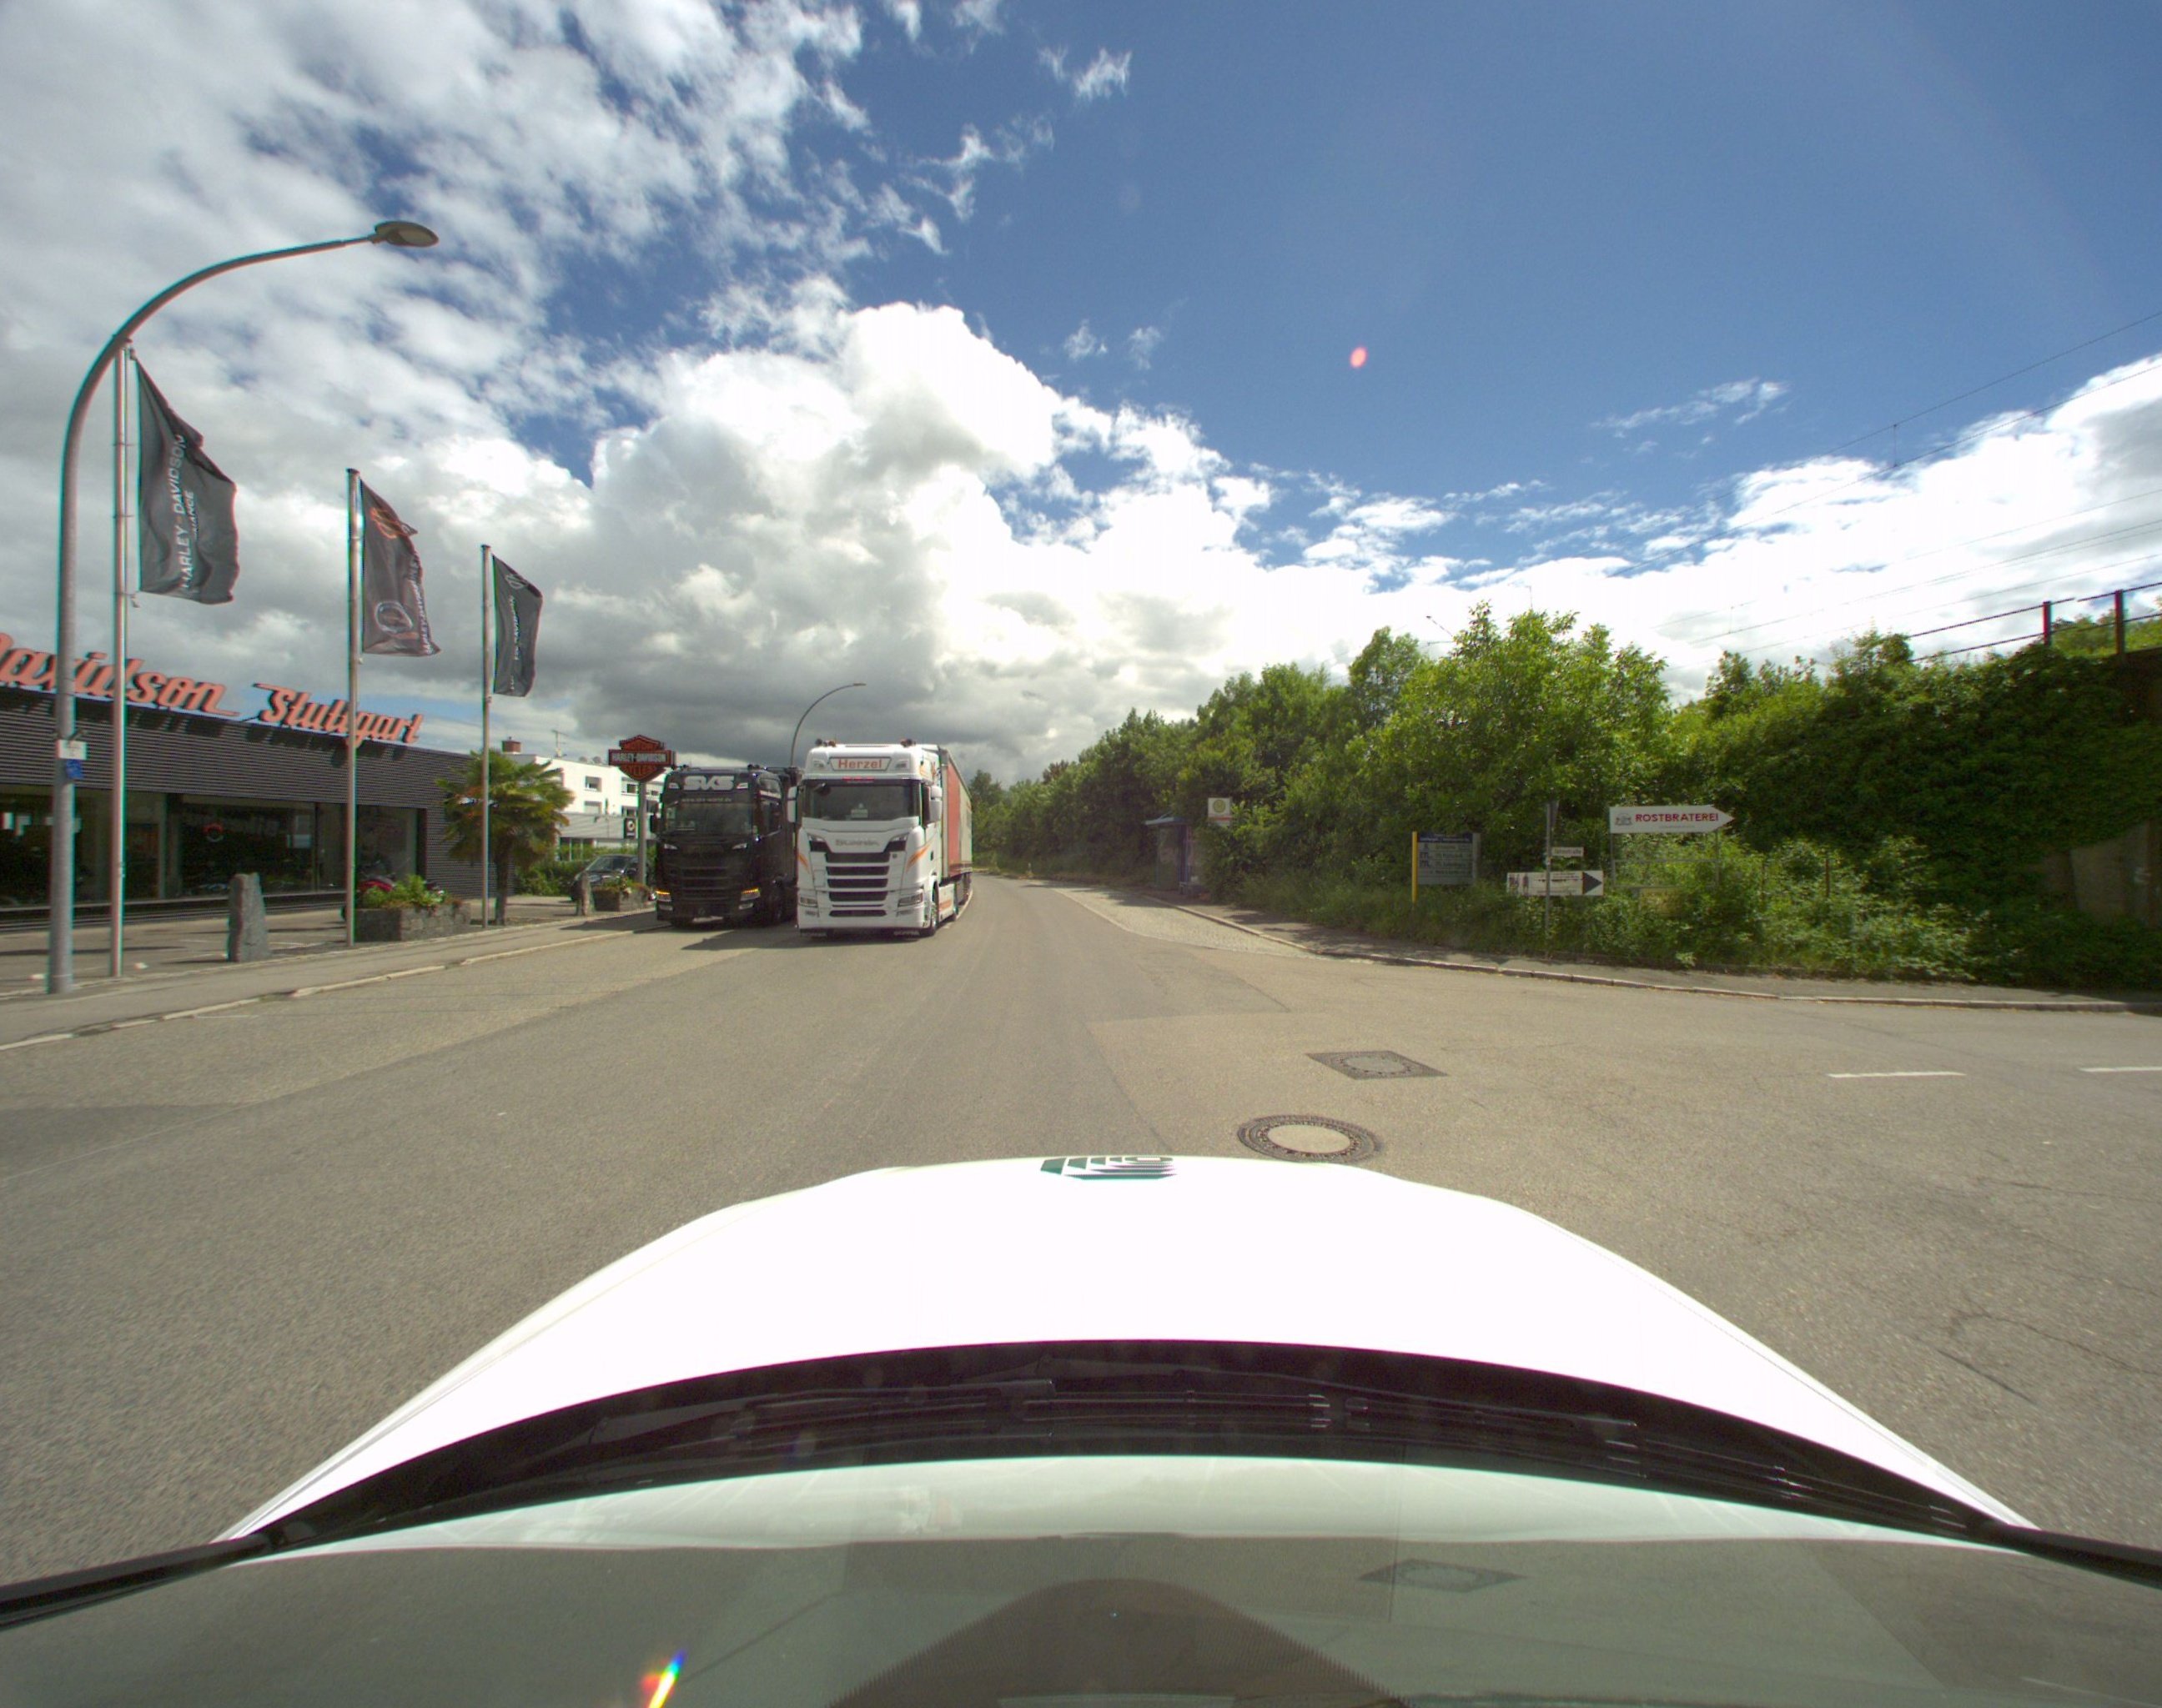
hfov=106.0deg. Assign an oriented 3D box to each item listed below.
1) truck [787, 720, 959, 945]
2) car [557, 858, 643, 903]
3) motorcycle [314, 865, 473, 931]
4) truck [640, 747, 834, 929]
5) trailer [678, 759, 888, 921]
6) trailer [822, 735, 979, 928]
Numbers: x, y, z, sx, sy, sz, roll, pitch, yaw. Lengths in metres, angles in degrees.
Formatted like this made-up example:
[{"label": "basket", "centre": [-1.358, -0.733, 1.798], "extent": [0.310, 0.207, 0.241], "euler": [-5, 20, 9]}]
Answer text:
[{"label": "truck", "centre": [-4.186, -0.363, 17.496], "extent": [2.767, 4.119, 4.977], "euler": [1, -1, -5]}, {"label": "car", "centre": [-15.302, 0.813, 26.022], "extent": [1.040, 1.364, 2.689], "euler": [1, 0, 2]}, {"label": "motorcycle", "centre": [-14.207, 0.890, 16.874], "extent": [2.554, 1.306, 0.848], "euler": [1, -1, 0]}, {"label": "truck", "centre": [-8.716, -0.328, 21.583], "extent": [2.794, 4.053, 6.489], "euler": [1, 0, -5]}, {"label": "trailer", "centre": [-9.291, -0.290, 28.209], "extent": [2.794, 4.053, 15.528], "euler": [1, 0, -5]}, {"label": "trailer", "centre": [-4.856, -0.422, 25.275], "extent": [2.767, 4.145, 15.321], "euler": [1, 0, -5]}]
